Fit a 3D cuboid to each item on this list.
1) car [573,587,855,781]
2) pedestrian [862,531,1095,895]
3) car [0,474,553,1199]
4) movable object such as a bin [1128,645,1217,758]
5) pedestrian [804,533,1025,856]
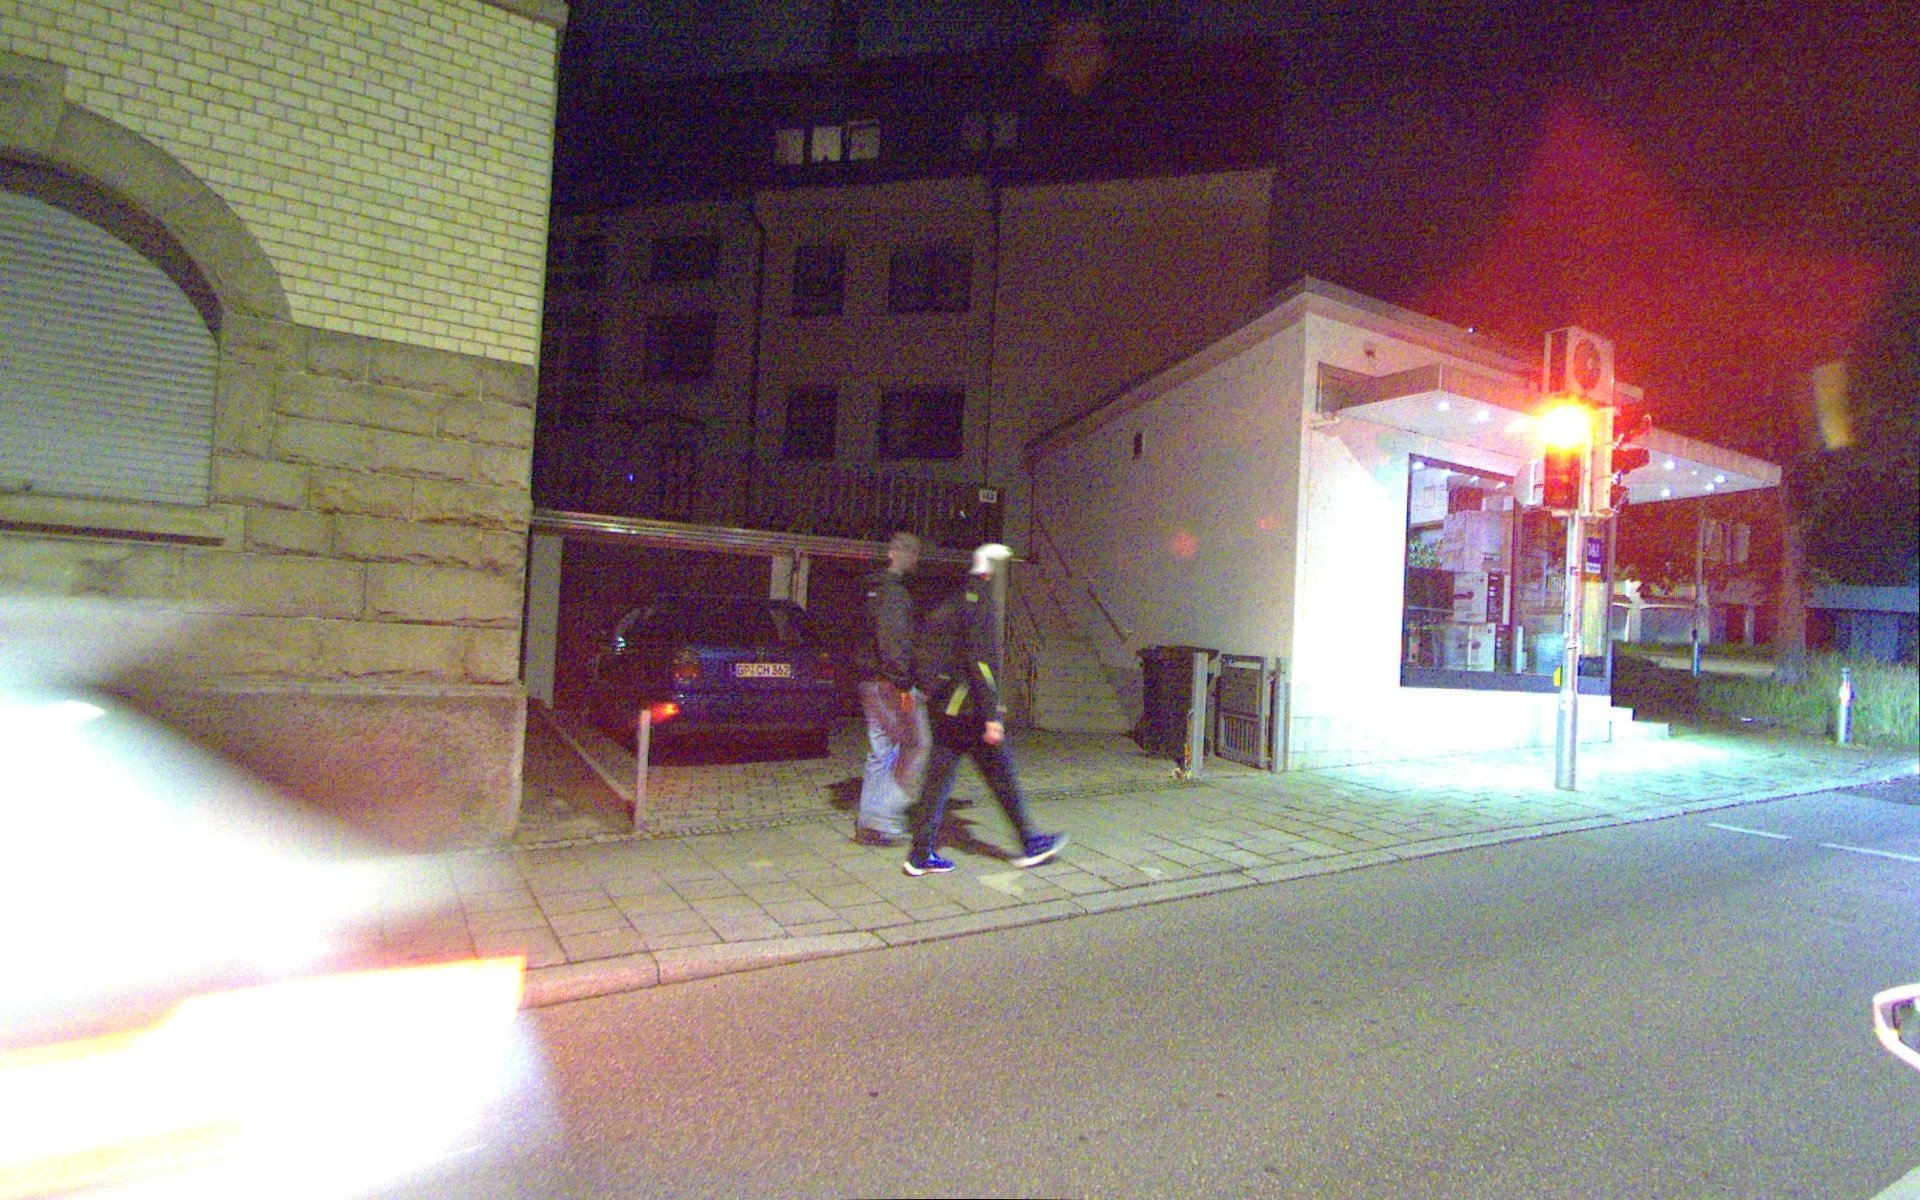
[{"bbox_3d":[-2.464,0.649,9.495,1.655,1.470,3.341,2,-1,-31],"label":"car"},{"bbox_3d":[0.098,0.561,5.430,1.017,1.768,0.672,2,0,-31],"label":"pedestrian"},{"bbox_3d":[-2.606,0.627,0.838,3.980,1.554,1.848,1,0,-30],"label":"car"},{"bbox_3d":[2.106,0.996,10.025,0.643,1.063,0.639,2,0,-12],"label":"movable object such as a bin"},{"bbox_3d":[-0.280,0.531,6.106,1.091,1.768,0.738,2,0,-31],"label":"pedestrian"}]
